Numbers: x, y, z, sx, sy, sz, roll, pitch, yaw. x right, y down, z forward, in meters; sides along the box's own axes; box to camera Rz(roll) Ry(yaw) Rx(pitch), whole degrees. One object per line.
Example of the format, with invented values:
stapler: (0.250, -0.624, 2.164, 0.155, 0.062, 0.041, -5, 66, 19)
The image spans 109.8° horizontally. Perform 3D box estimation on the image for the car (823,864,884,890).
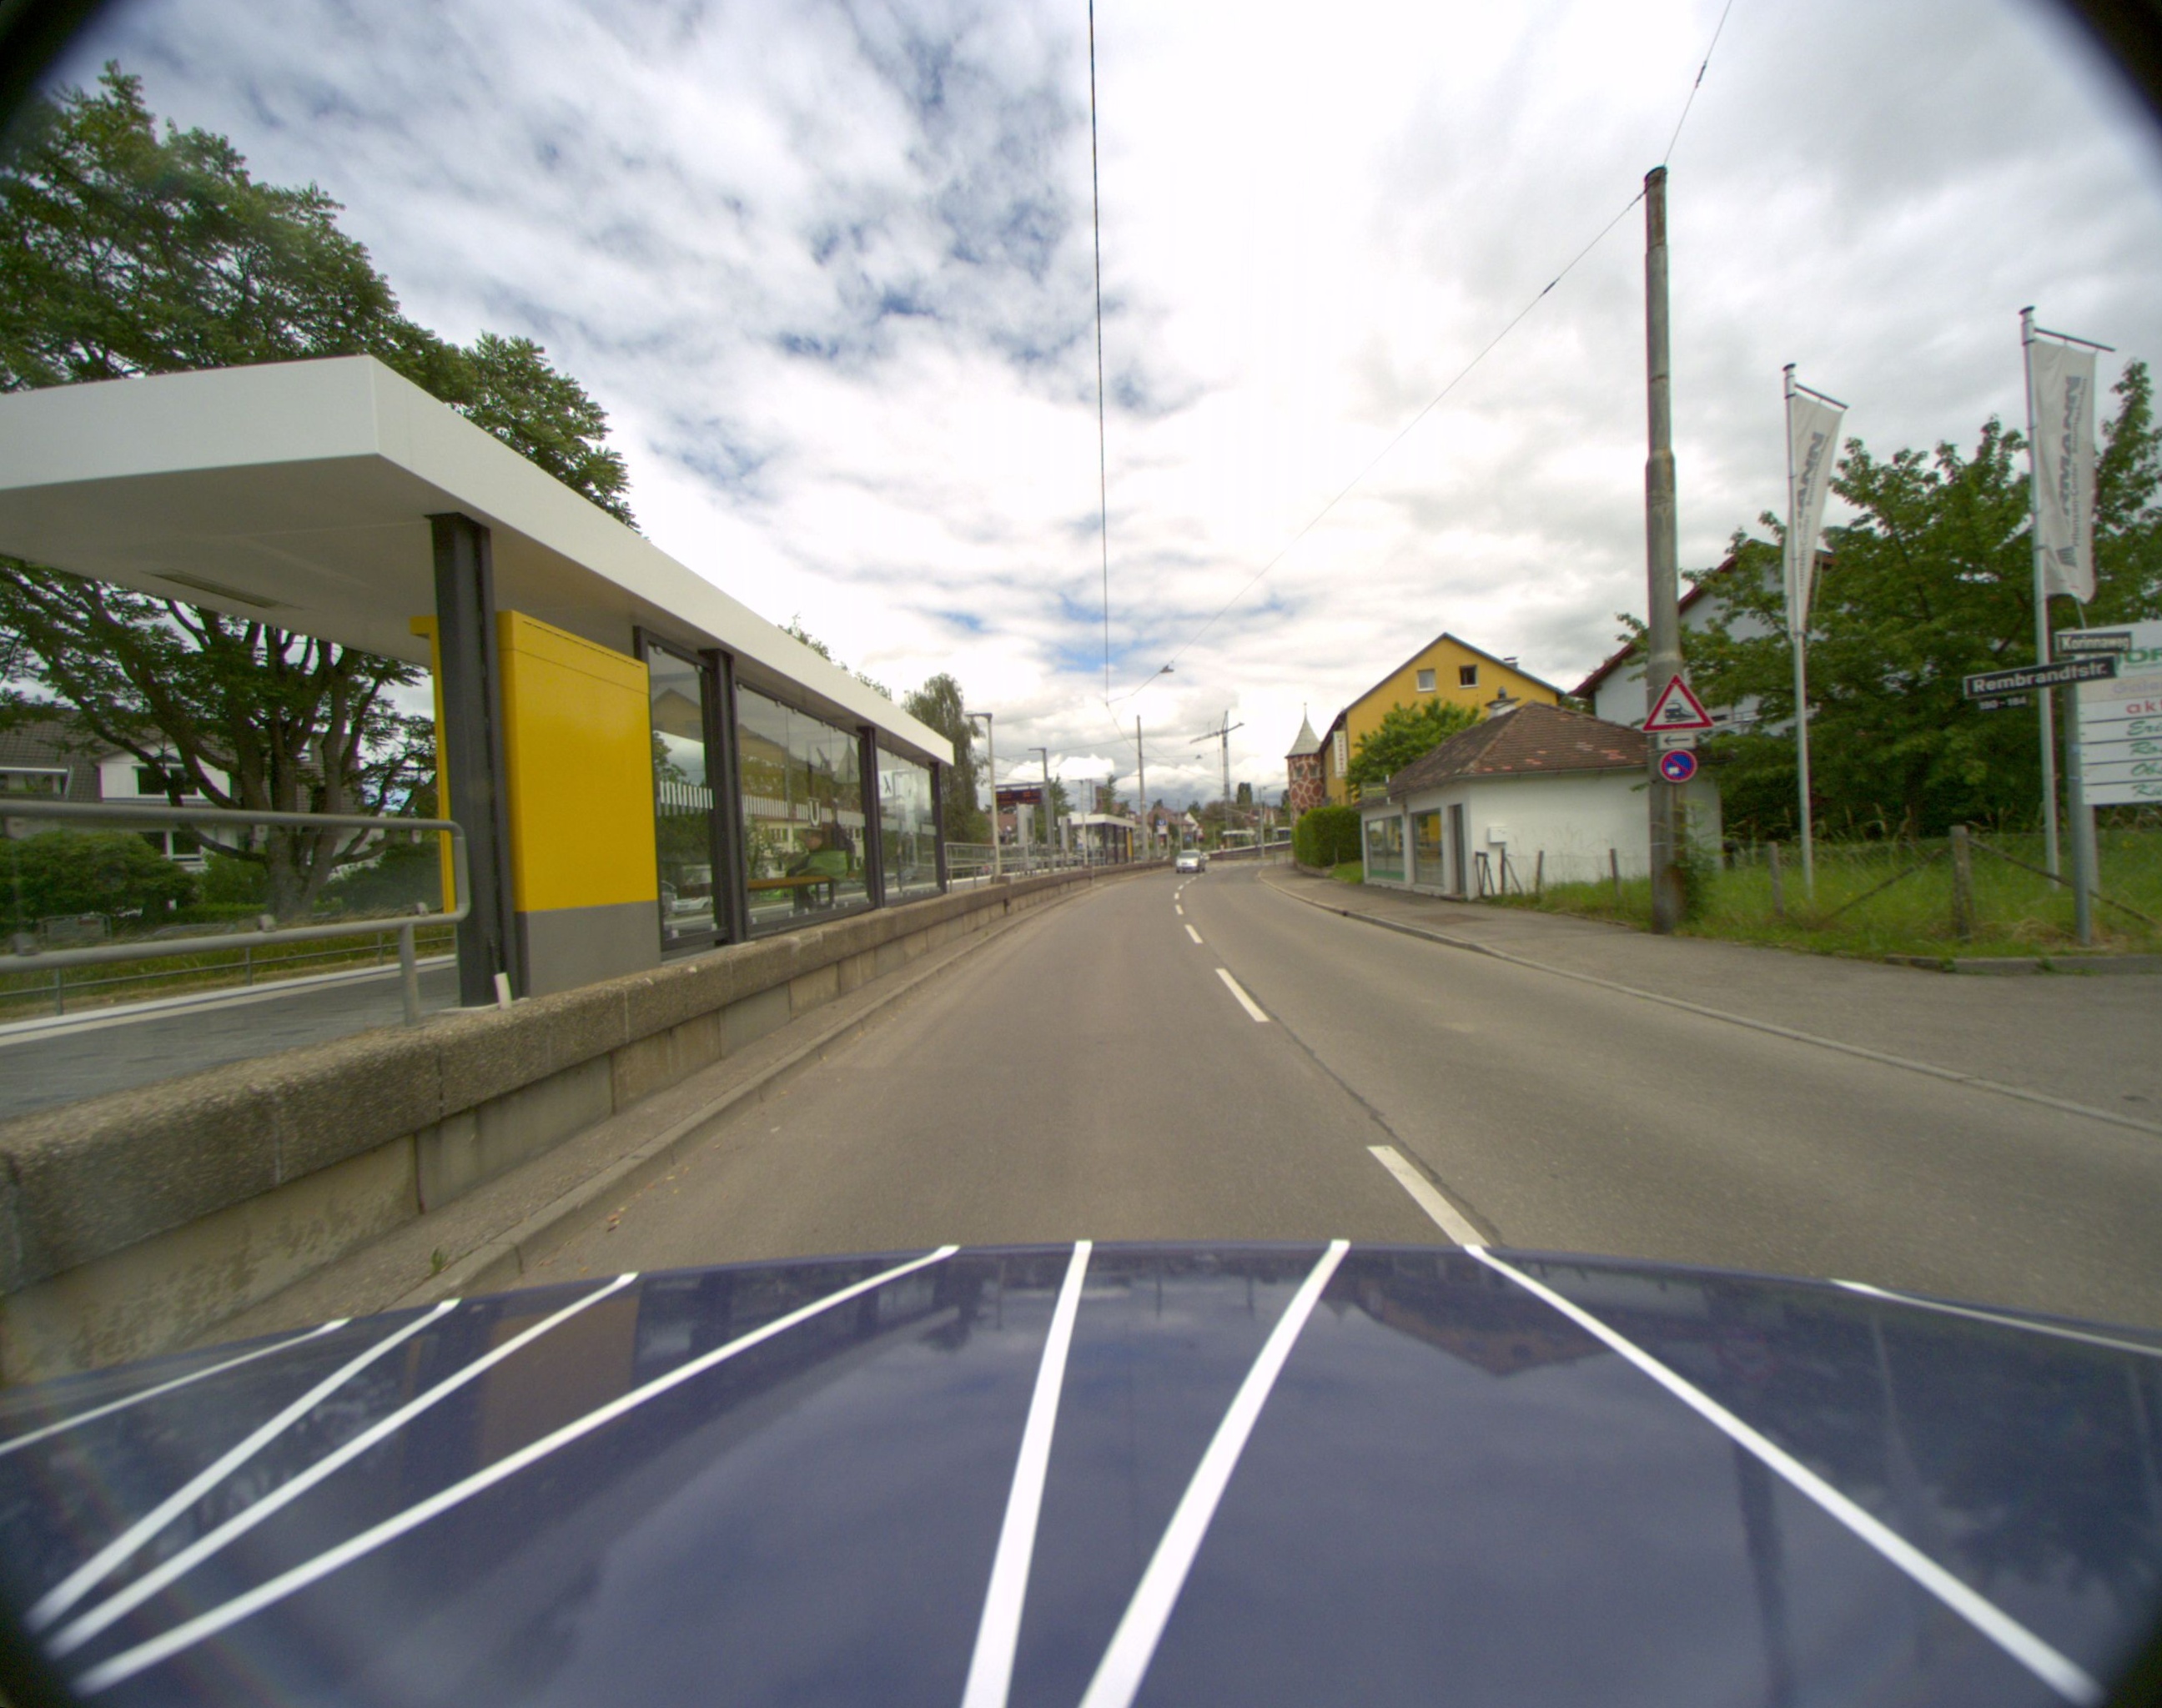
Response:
car: (-14.466, 1.430, 48.611, 1.997, 1.341, 4.003, -4, 0, 11)

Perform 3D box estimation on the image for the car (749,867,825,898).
car: (-15.586, 1.467, 40.487, 1.997, 1.341, 4.002, -4, 0, 8)

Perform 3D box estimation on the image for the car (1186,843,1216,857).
car: (14.929, -0.488, 94.509, 1.736, 1.454, 4.219, -4, 0, -20)

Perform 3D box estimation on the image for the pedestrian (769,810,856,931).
pedestrian: (-3.054, 0.180, 8.700, 0.655, 1.304, 0.691, -3, 1, 4)

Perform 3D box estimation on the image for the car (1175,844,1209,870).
car: (8.055, 0.205, 54.862, 1.732, 1.639, 4.230, -3, 0, 16)

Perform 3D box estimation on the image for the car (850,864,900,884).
car: (-17.672, 1.696, 65.421, 1.996, 1.426, 4.005, -4, 0, 23)

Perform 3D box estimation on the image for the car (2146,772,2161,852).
car: (22.462, -0.889, 13.456, 2.003, 1.525, 3.991, -4, 2, -30)

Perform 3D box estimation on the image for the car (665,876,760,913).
car: (-17.016, 1.828, 35.358, 1.997, 1.341, 4.002, -4, 0, 8)
